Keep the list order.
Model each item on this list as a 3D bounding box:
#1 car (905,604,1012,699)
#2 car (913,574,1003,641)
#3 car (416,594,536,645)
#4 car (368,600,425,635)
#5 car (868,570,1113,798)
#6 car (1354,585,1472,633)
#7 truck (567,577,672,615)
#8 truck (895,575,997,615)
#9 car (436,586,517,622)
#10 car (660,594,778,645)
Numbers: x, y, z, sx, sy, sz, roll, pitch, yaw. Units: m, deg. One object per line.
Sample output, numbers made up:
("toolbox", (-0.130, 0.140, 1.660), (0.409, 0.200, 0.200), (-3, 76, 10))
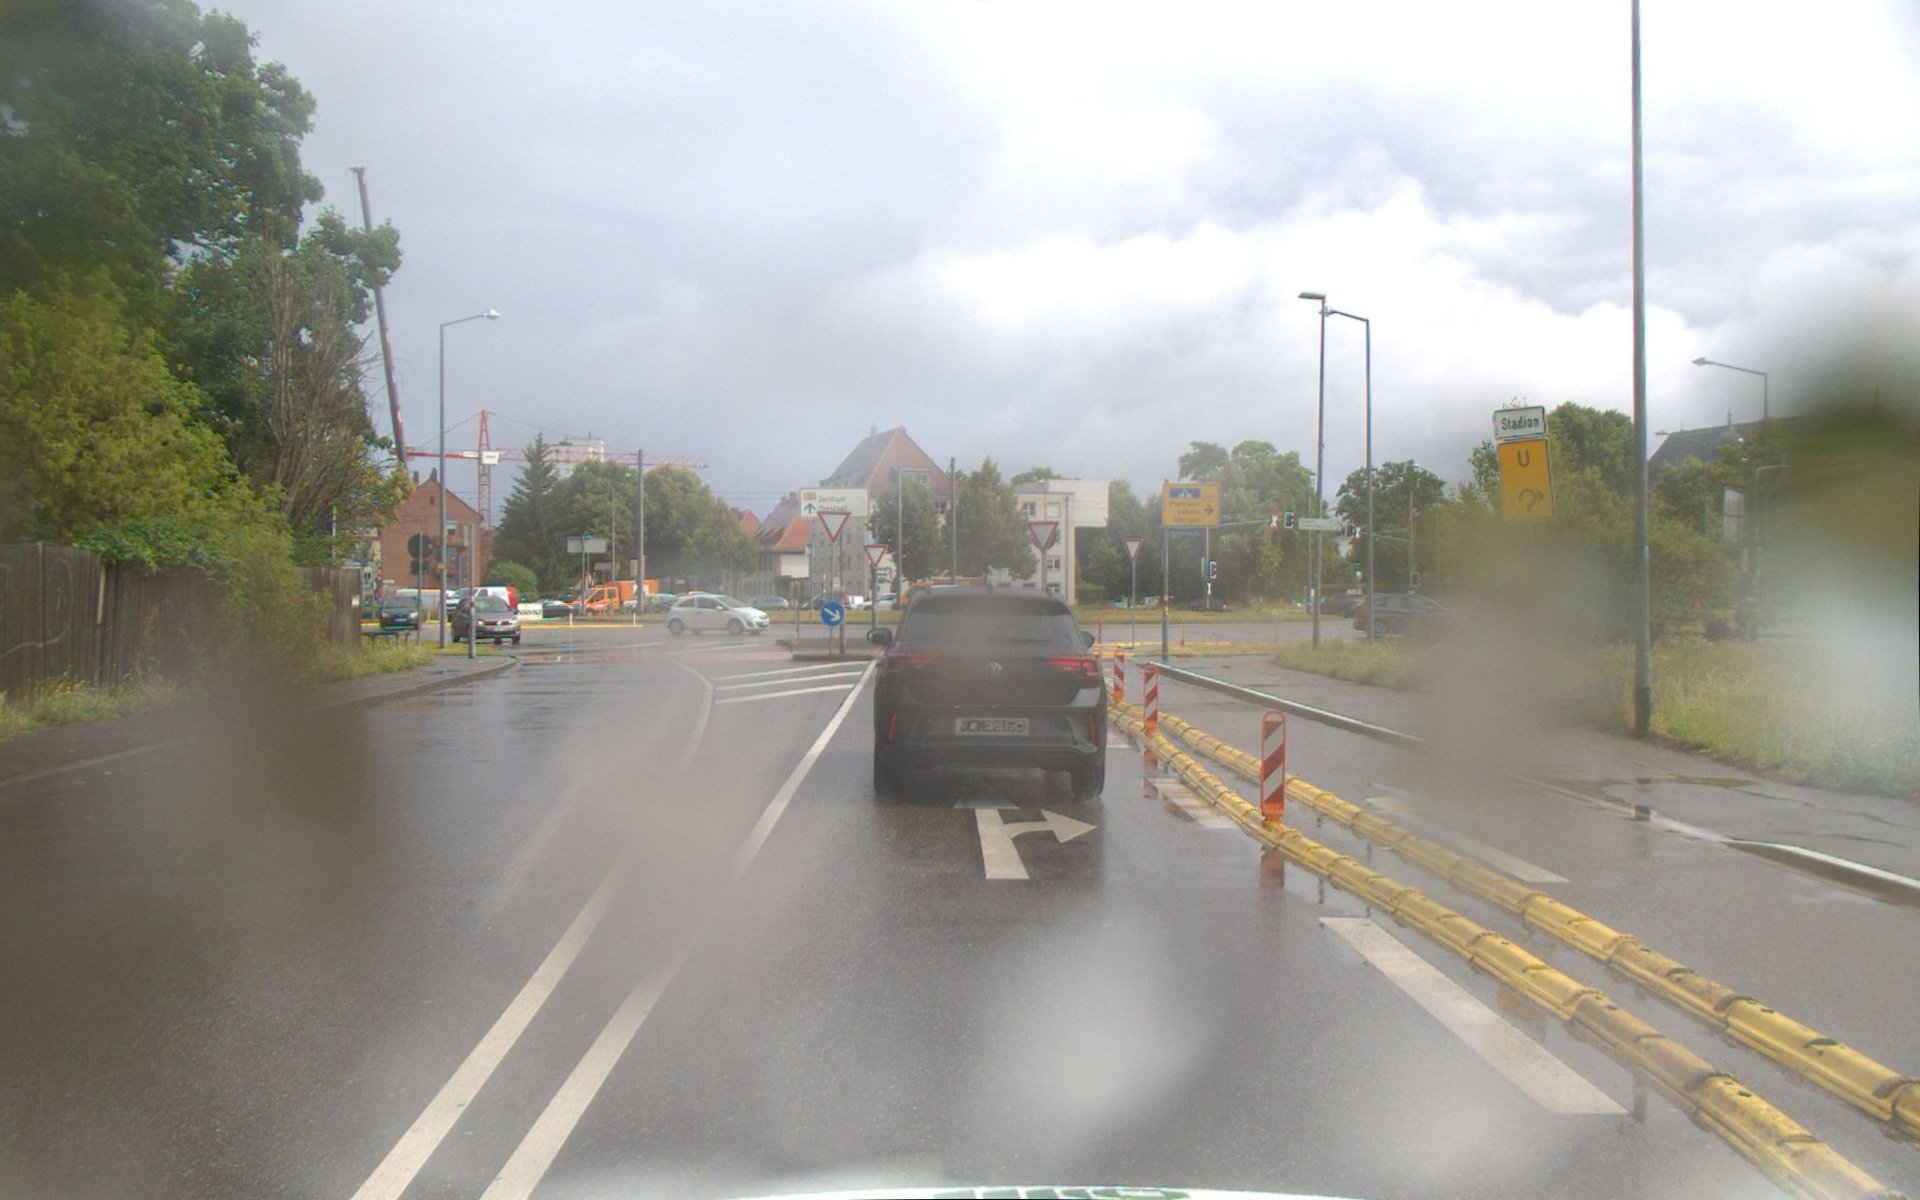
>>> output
("car", (-0.077, 0.859, 29.273), (1.701, 1.540, 3.601), (0, 0, -3))
("car", (-0.017, 0.193, 48.234), (1.824, 1.841, 4.407), (0, 0, 11))
("car", (-16.923, 0.699, 57.786), (4.339, 1.579, 1.779), (-3, 0, 38))
("car", (-25.539, 0.794, 74.833), (1.853, 1.508, 4.140), (0, -1, -28))
("car", (0.120, 0.609, 13.588), (1.675, 1.601, 3.679), (1, 0, -4))
("car", (16.156, 0.304, 59.117), (3.858, 1.673, 1.672), (0, 0, 6))
("truck", (-23.141, -0.274, 112.459), (6.653, 2.485, 2.402), (0, 0, -37))
("truck", (-0.945, -0.364, 113.700), (6.922, 2.696, 2.329), (0, 0, -1))
("car", (-27.113, 0.197, 92.866), (1.848, 1.909, 5.135), (0, 0, 17))
("car", (-8.962, 0.708, 61.632), (3.902, 1.862, 2.002), (0, 0, 14))
